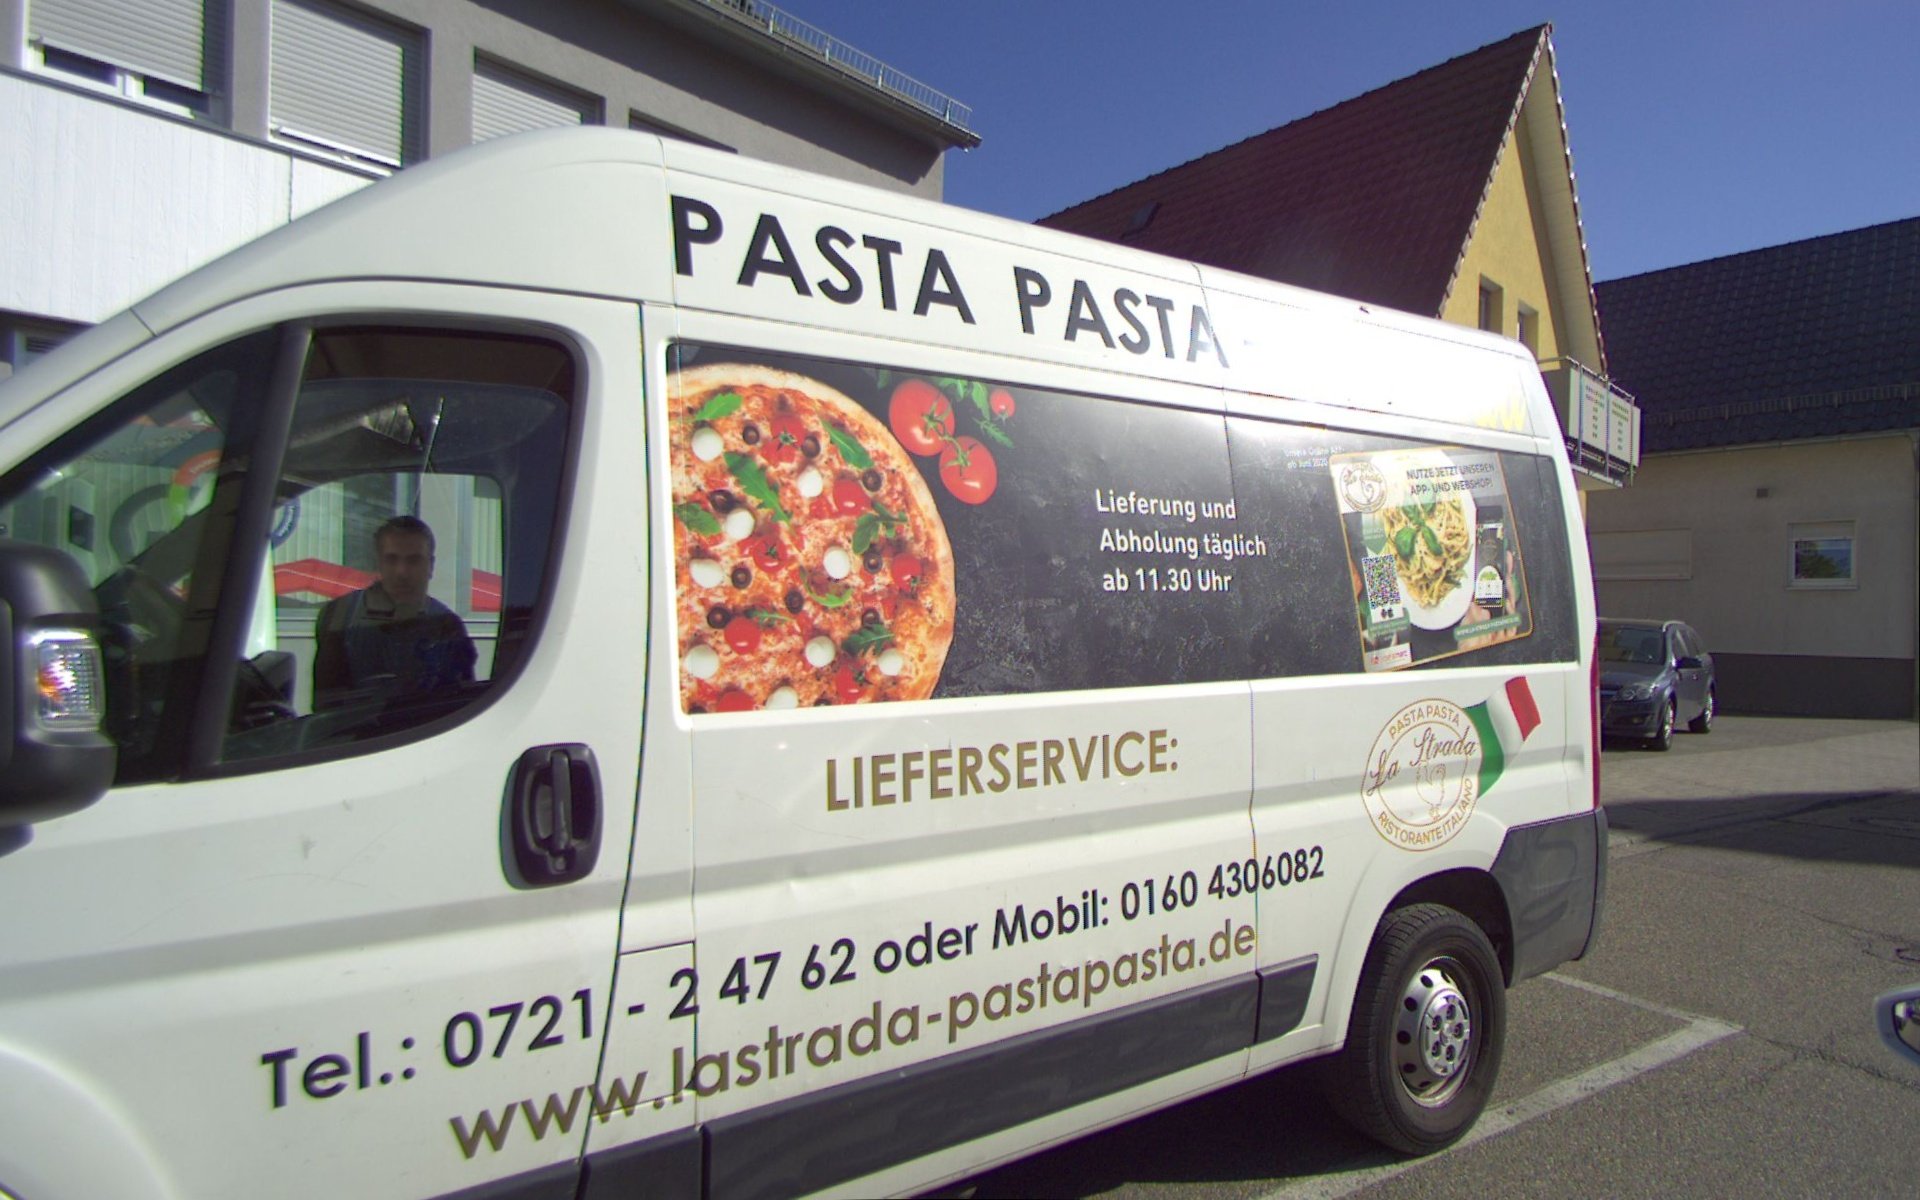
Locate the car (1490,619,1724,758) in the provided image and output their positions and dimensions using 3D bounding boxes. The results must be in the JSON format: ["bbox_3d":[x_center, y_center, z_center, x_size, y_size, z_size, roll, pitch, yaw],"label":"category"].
[{"bbox_3d":[8.445,1.014,12.963,4.149,1.464,1.671,2,0,-45],"label":"car"}]

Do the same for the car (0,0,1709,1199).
[{"bbox_3d":[-0.216,0.286,3.112,5.454,2.503,2.241,1,-2,-32],"label":"car"}]
